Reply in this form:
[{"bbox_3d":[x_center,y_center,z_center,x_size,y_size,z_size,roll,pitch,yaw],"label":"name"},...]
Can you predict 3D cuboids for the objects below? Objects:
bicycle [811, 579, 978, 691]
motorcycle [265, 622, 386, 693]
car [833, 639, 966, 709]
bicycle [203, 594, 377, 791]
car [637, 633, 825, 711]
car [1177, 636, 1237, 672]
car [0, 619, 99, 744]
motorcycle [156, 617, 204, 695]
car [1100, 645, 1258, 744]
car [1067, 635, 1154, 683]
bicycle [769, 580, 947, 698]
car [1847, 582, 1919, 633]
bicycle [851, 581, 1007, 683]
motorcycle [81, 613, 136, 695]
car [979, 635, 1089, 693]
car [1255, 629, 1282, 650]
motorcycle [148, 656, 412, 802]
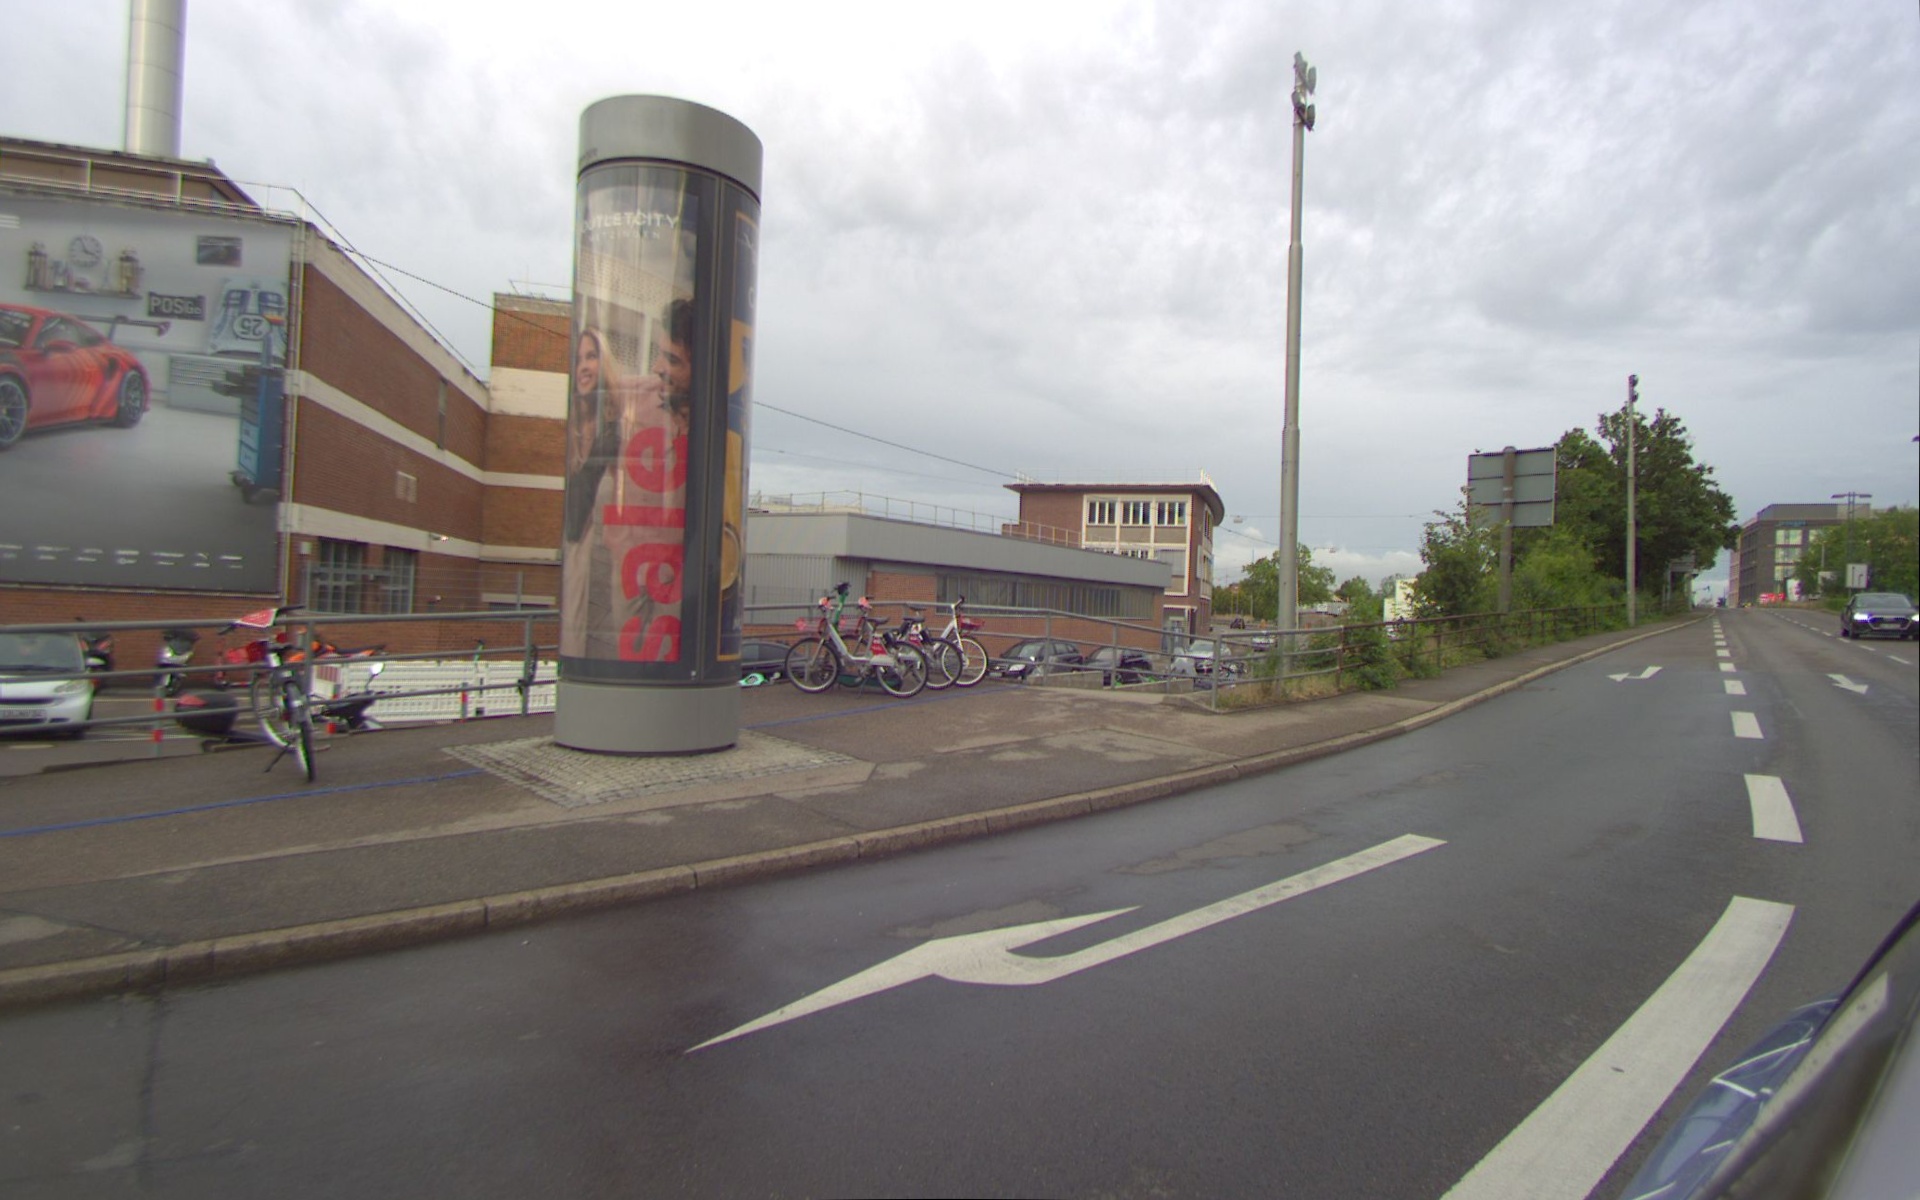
[{"bbox_3d":[-0.775,0.396,12.111,1.900,1.239,0.598,1,1,8],"label":"bicycle"},{"bbox_3d":[-13.011,1.184,20.826,1.943,1.325,0.932,3,1,-24],"label":"motorcycle"},{"bbox_3d":[-1.669,2.052,29.014,1.694,1.648,3.878,1,1,37],"label":"car"},{"bbox_3d":[-4.788,0.577,7.180,1.799,1.176,0.583,3,2,41],"label":"bicycle"},{"bbox_3d":[-5.294,1.642,23.852,1.694,1.630,4.204,-1,-3,37],"label":"car"},{"bbox_3d":[12.408,2.678,50.712,1.692,1.574,3.809,1,1,35],"label":"car"},{"bbox_3d":[-13.888,1.127,14.959,1.663,1.500,3.557,4,-1,-40],"label":"car"},{"bbox_3d":[-15.218,1.066,19.761,0.562,1.325,1.873,3,2,-34],"label":"motorcycle"},{"bbox_3d":[4.495,1.800,20.399,1.694,1.574,3.805,1,1,37],"label":"car"},{"bbox_3d":[5.797,2.199,38.755,1.694,1.574,3.805,1,1,37],"label":"car"},{"bbox_3d":[-1.149,0.411,11.482,1.901,1.239,0.598,2,1,10],"label":"bicycle"},{"bbox_3d":[31.456,0.236,34.121,1.830,1.603,4.235,1,1,35],"label":"car"},{"bbox_3d":[-0.410,0.377,12.944,1.910,1.192,0.595,2,1,23],"label":"bicycle"},{"bbox_3d":[-16.148,0.989,19.224,0.675,1.325,2.022,3,2,-38],"label":"motorcycle"},{"bbox_3d":[2.572,2.098,34.141,1.629,1.652,4.371,1,1,37],"label":"car"},{"bbox_3d":[23.292,2.946,76.425,1.648,1.413,3.971,0,0,21],"label":"car"},{"bbox_3d":[-5.698,1.030,8.571,0.696,1.002,1.726,1,0,38],"label":"motorcycle"}]
